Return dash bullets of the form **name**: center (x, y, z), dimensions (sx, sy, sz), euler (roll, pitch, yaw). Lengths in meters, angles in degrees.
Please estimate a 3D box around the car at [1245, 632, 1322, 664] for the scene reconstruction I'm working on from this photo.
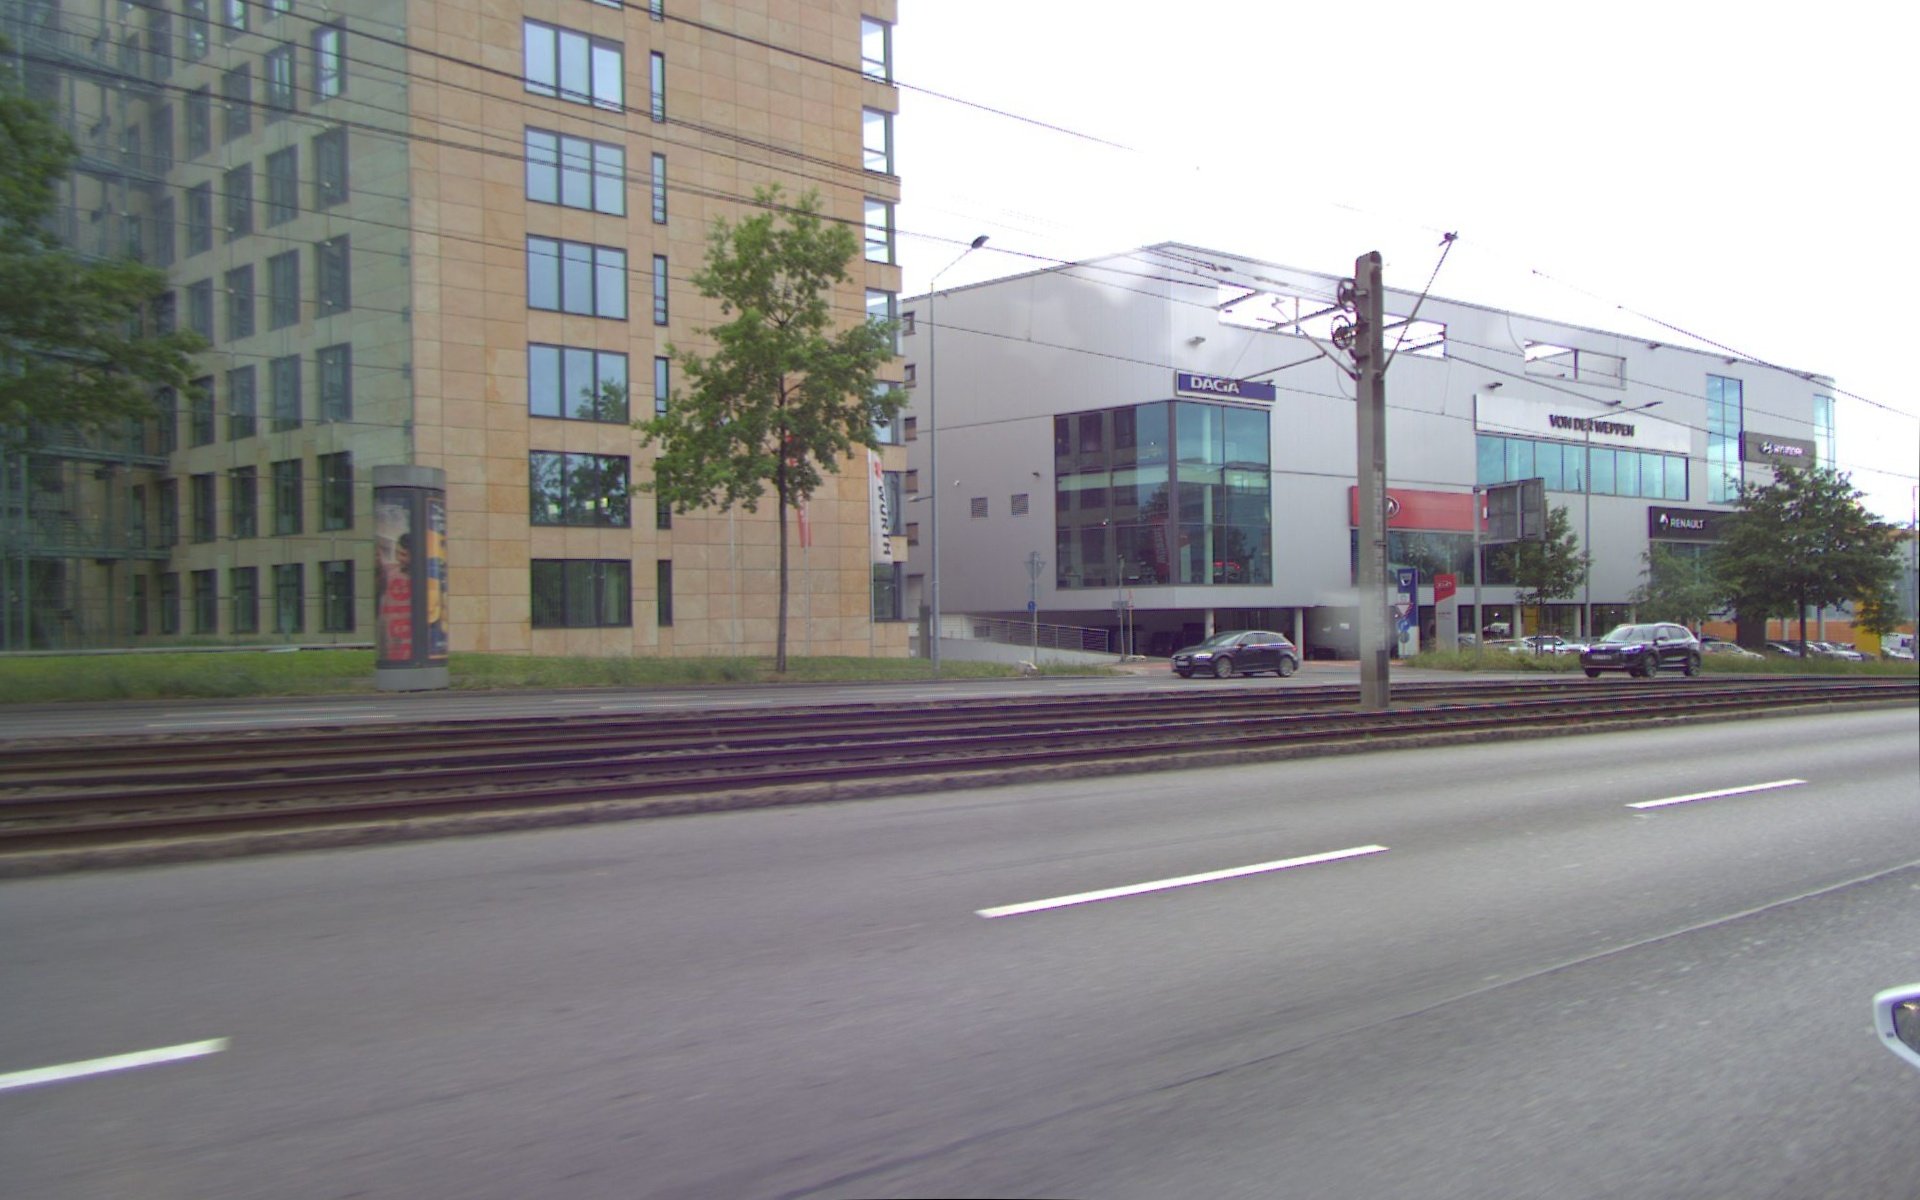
- **car**: center (20.746, 3.081, 64.402), dimensions (4.885, 1.936, 1.983), euler (2, 0, -32)

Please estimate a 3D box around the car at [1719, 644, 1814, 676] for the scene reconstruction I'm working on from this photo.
- **car**: center (54.181, 4.008, 67.538), dimensions (1.998, 2.002, 4.577), euler (3, -2, -31)

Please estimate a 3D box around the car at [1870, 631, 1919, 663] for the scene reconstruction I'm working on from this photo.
- **car**: center (74.939, 3.727, 78.678), dimensions (2.006, 2.343, 5.253), euler (3, -1, -43)

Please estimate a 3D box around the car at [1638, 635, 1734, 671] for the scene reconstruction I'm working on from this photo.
- **car**: center (44.717, 3.237, 61.889), dimensions (4.554, 2.002, 2.008), euler (0, -2, 45)

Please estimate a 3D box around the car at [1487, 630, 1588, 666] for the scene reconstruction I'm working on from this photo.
- **car**: center (32.585, 2.700, 56.738), dimensions (4.575, 1.851, 2.008), euler (0, -2, 45)

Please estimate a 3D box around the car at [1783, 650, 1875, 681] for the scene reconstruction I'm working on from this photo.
- **car**: center (61.829, 4.629, 71.532), dimensions (1.998, 2.002, 4.577), euler (3, -2, -31)

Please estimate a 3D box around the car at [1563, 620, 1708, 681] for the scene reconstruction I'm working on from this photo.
- **car**: center (20.441, 1.542, 30.382), dimensions (4.332, 1.637, 1.798), euler (3, -1, -28)

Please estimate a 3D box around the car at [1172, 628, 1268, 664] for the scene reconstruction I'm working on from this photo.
- **car**: center (13.815, 2.469, 53.284), dimensions (4.881, 1.748, 1.984), euler (2, 0, -30)

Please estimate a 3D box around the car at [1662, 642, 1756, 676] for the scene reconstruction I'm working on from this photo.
- **car**: center (48.641, 3.818, 65.327), dimensions (2.004, 2.002, 4.563), euler (3, -2, -40)

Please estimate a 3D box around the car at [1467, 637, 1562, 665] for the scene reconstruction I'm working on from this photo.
- **car**: center (29.840, 2.748, 54.139), dimensions (4.267, 1.324, 1.865), euler (0, -2, 37)

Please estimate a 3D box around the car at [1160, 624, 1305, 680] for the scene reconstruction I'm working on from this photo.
- **car**: center (8.230, 1.574, 30.265), dimensions (4.186, 1.481, 1.661), euler (3, -1, -28)

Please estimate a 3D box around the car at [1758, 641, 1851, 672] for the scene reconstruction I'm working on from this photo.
- **car**: center (58.485, 3.895, 69.612), dimensions (1.998, 2.002, 4.577), euler (3, -2, -31)

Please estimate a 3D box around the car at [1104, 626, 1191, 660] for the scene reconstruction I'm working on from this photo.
- **car**: center (10.862, 2.492, 58.072), dimensions (4.885, 1.815, 1.983), euler (2, 0, -32)

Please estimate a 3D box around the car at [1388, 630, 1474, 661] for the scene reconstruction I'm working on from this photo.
- **car**: center (28.129, 2.697, 59.997), dimensions (4.552, 1.686, 2.018), euler (1, -2, 28)
